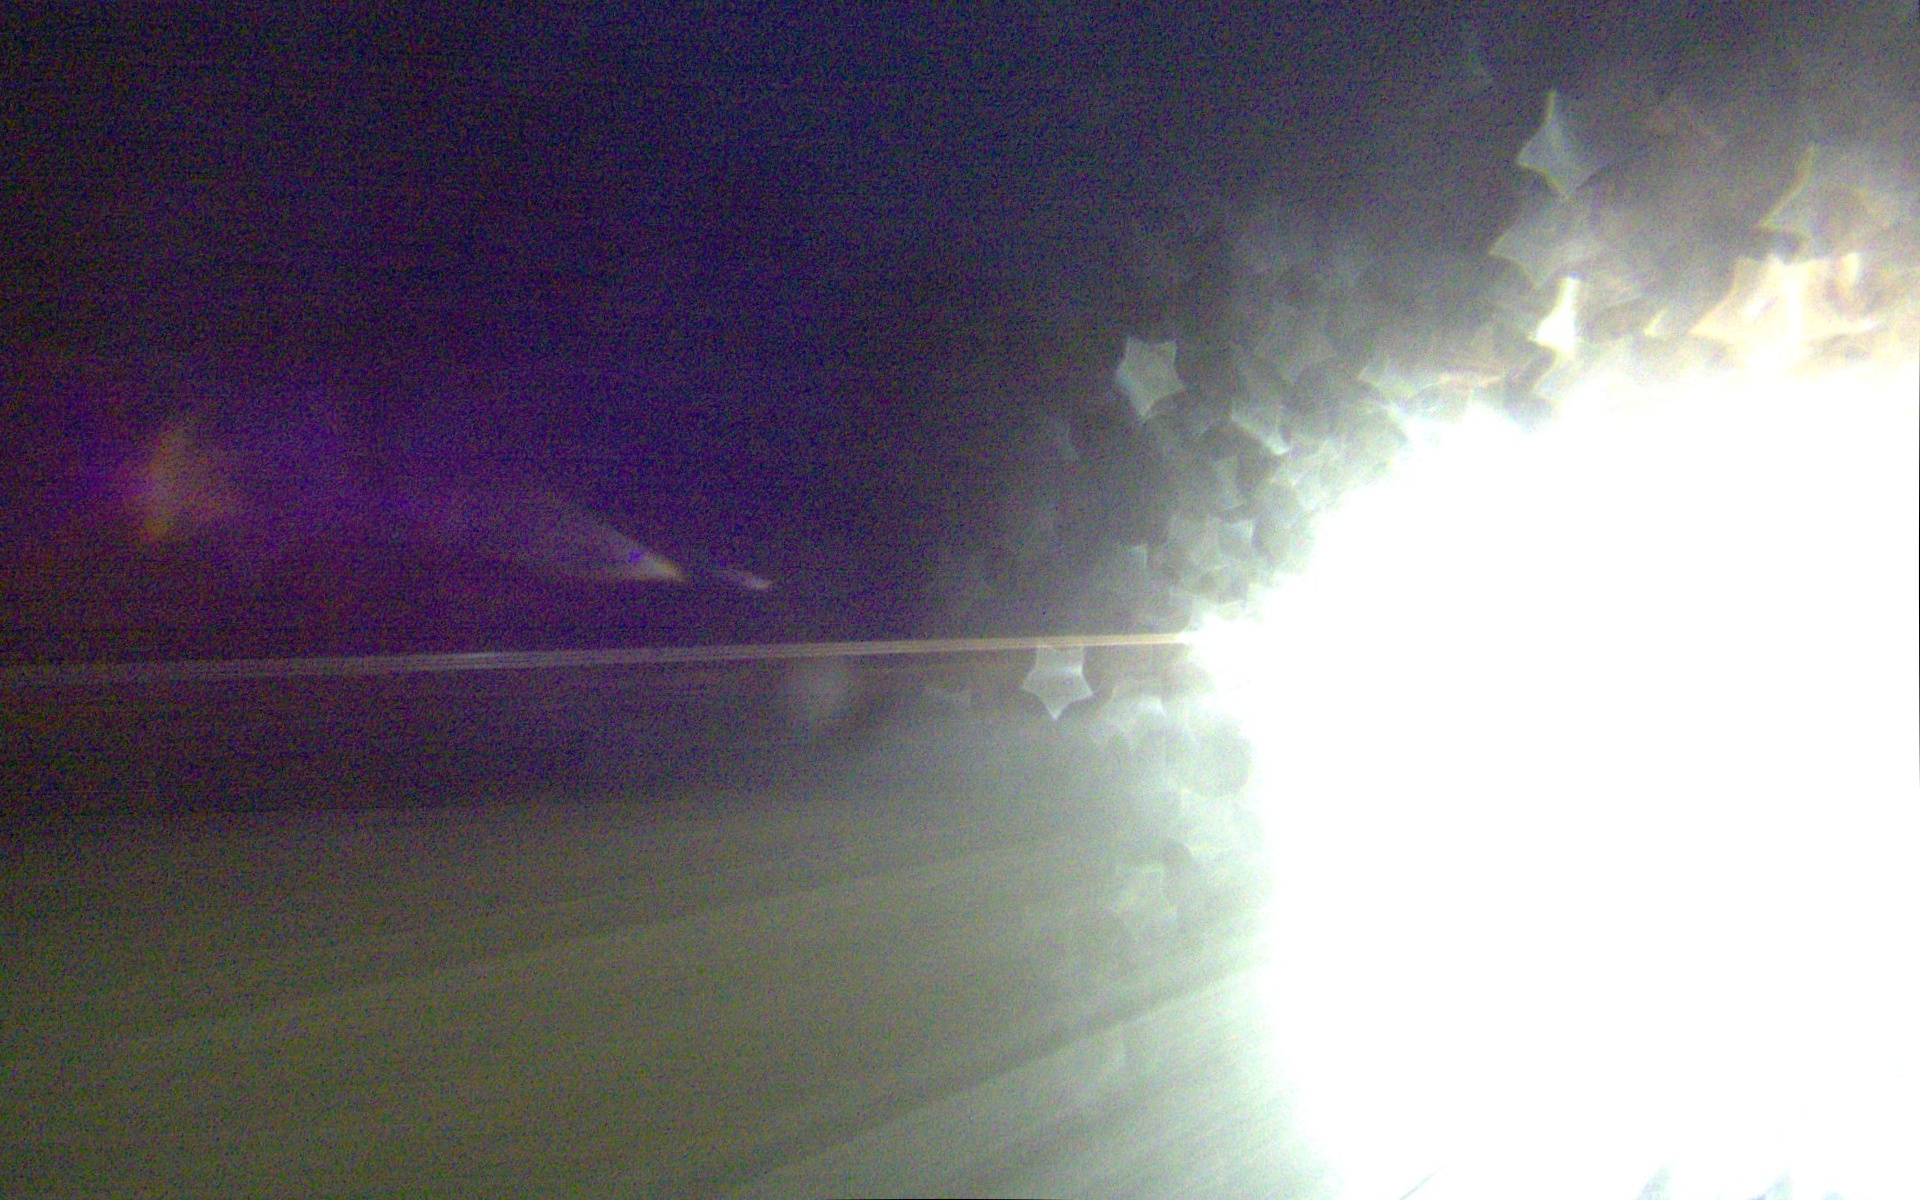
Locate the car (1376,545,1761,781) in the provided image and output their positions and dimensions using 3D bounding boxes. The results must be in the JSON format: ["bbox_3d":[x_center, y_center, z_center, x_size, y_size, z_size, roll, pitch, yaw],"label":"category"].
[{"bbox_3d":[5.465,0.481,8.949,3.613,1.645,1.846,1,-2,-40],"label":"car"}]

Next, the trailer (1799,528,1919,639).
[{"bbox_3d":[38.535,-0.555,42.425,13.575,4.030,2.743,0,-3,-41],"label":"trailer"}]

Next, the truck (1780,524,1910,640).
[{"bbox_3d":[33.044,-0.575,37.754,5.106,4.021,2.779,0,-3,-40],"label":"truck"}]

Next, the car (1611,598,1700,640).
[{"bbox_3d":[28.261,0.767,41.103,4.043,1.610,1.917,0,-2,-40],"label":"car"}]
